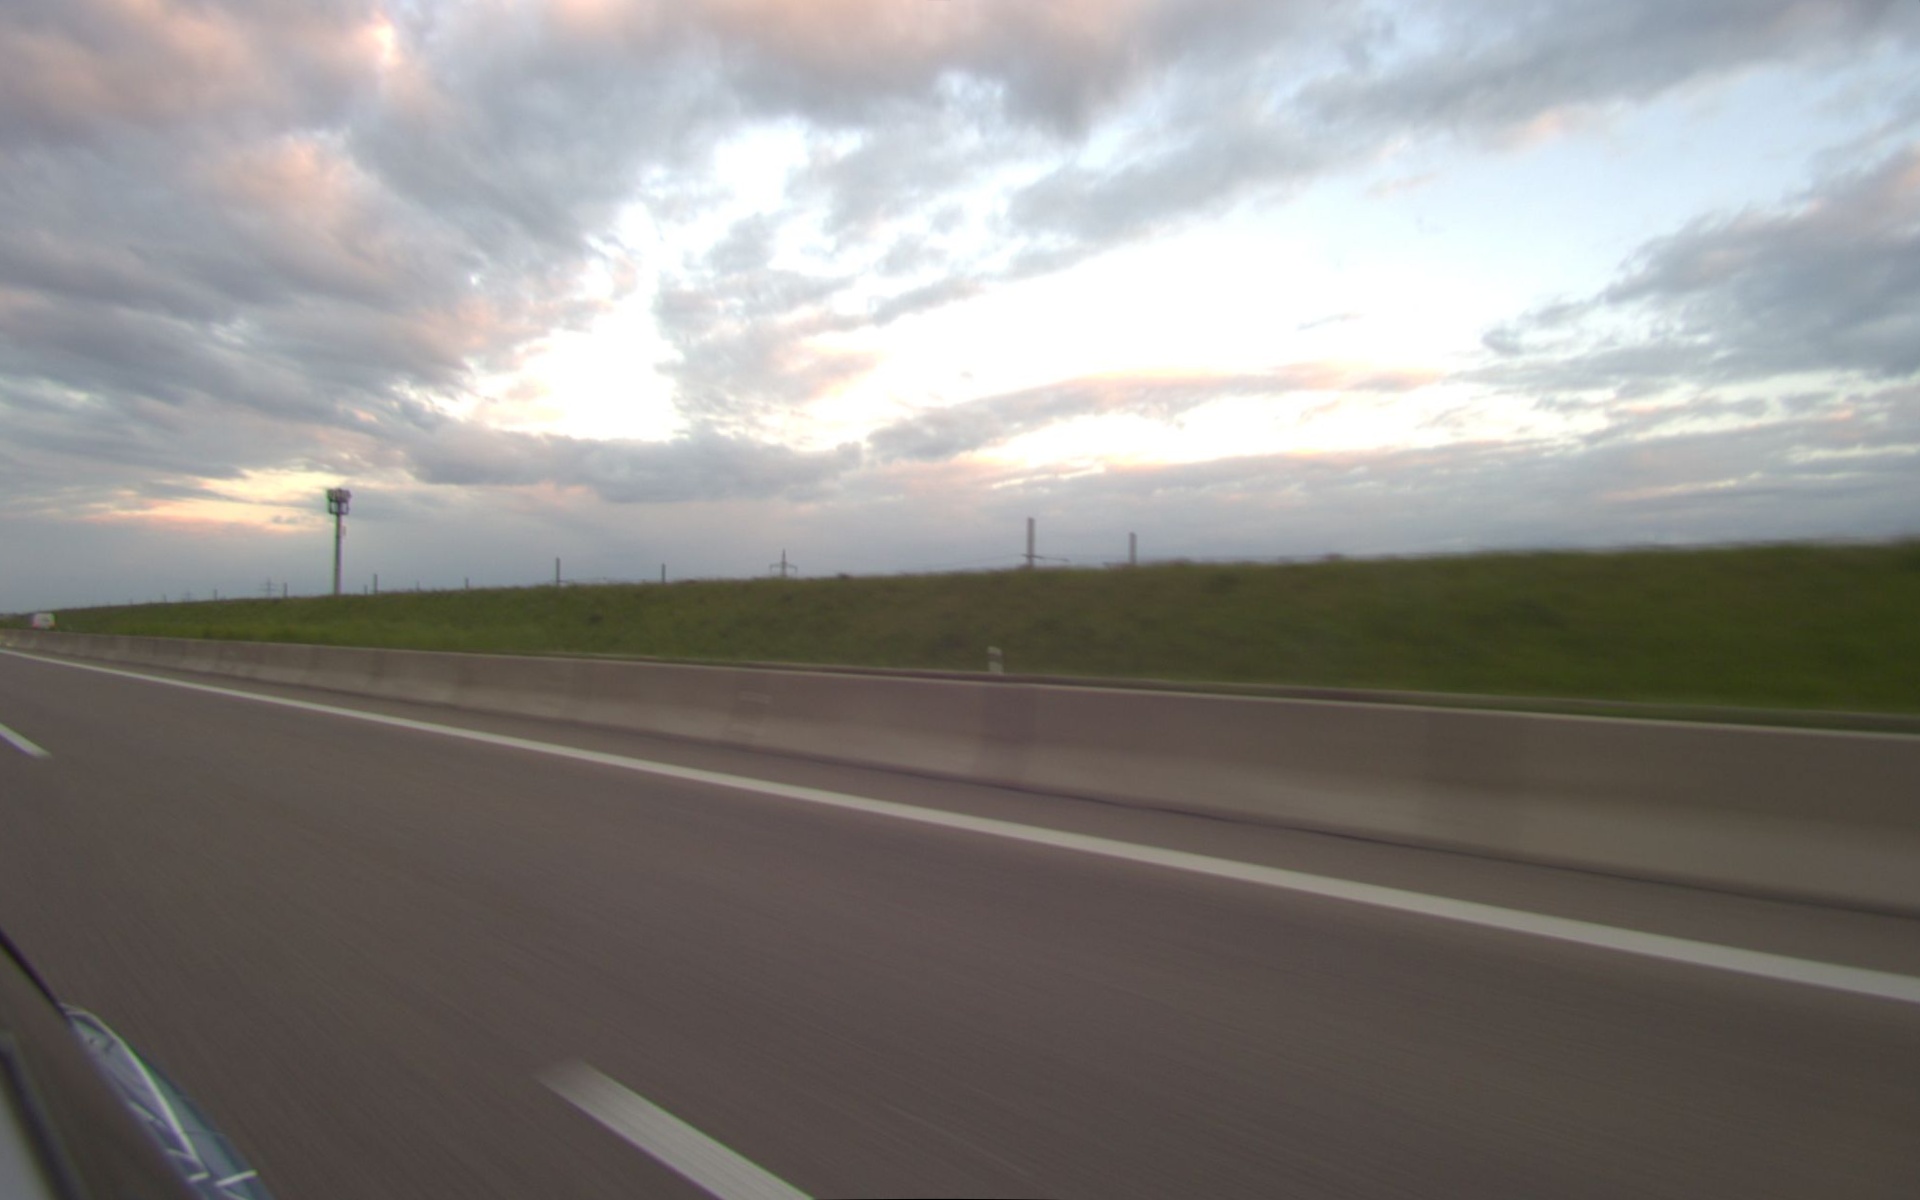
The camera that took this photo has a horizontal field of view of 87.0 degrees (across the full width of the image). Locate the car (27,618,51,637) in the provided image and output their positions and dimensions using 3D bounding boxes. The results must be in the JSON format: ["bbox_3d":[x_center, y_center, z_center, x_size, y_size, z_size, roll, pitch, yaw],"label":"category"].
[{"bbox_3d":[-129.552,3.879,142.351,7.379,2.566,1.971,-1,-2,44],"label":"car"}]
